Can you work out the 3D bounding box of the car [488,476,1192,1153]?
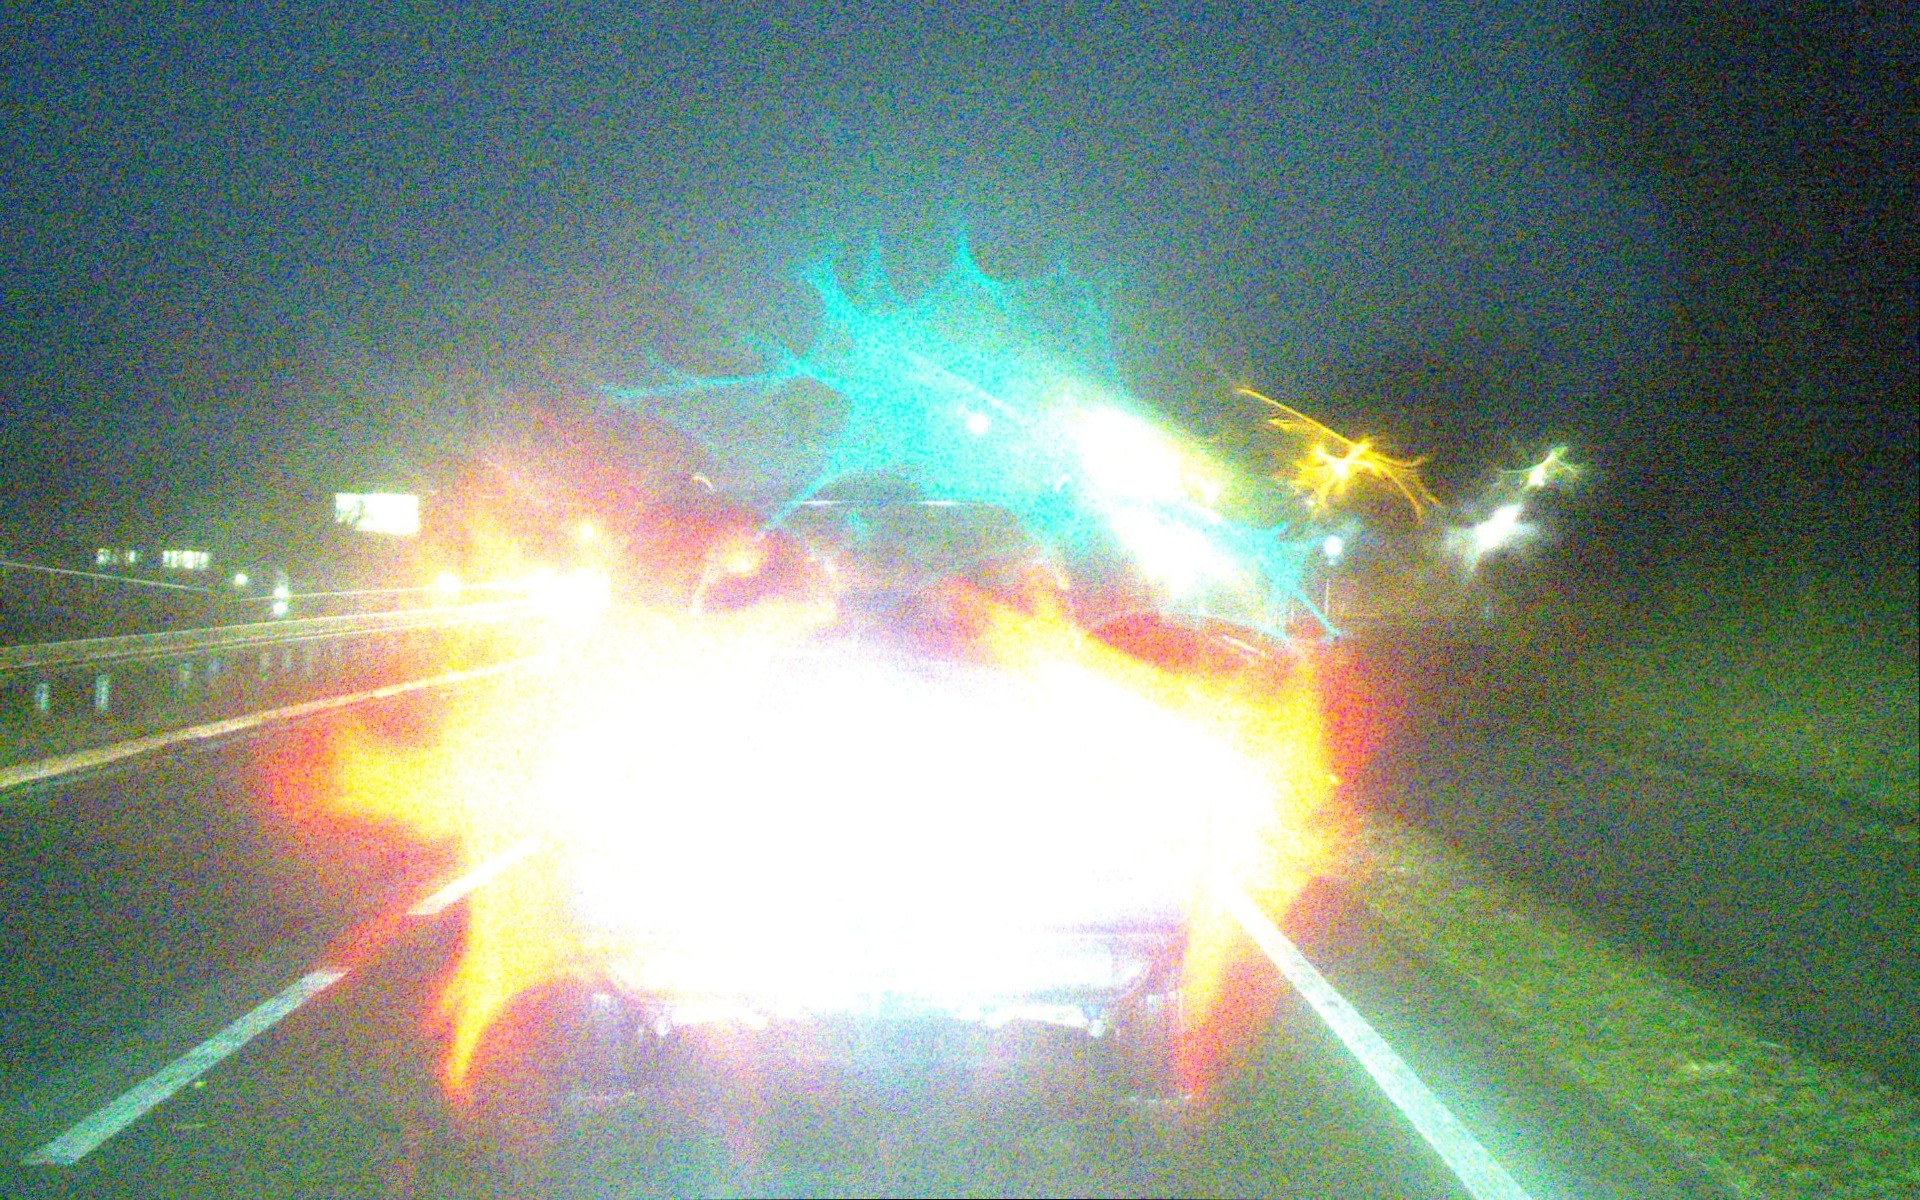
[{"bbox_3d":[-0.303,0.534,10.708,1.775,1.706,4.000,0,0,0],"label":"car"}]
